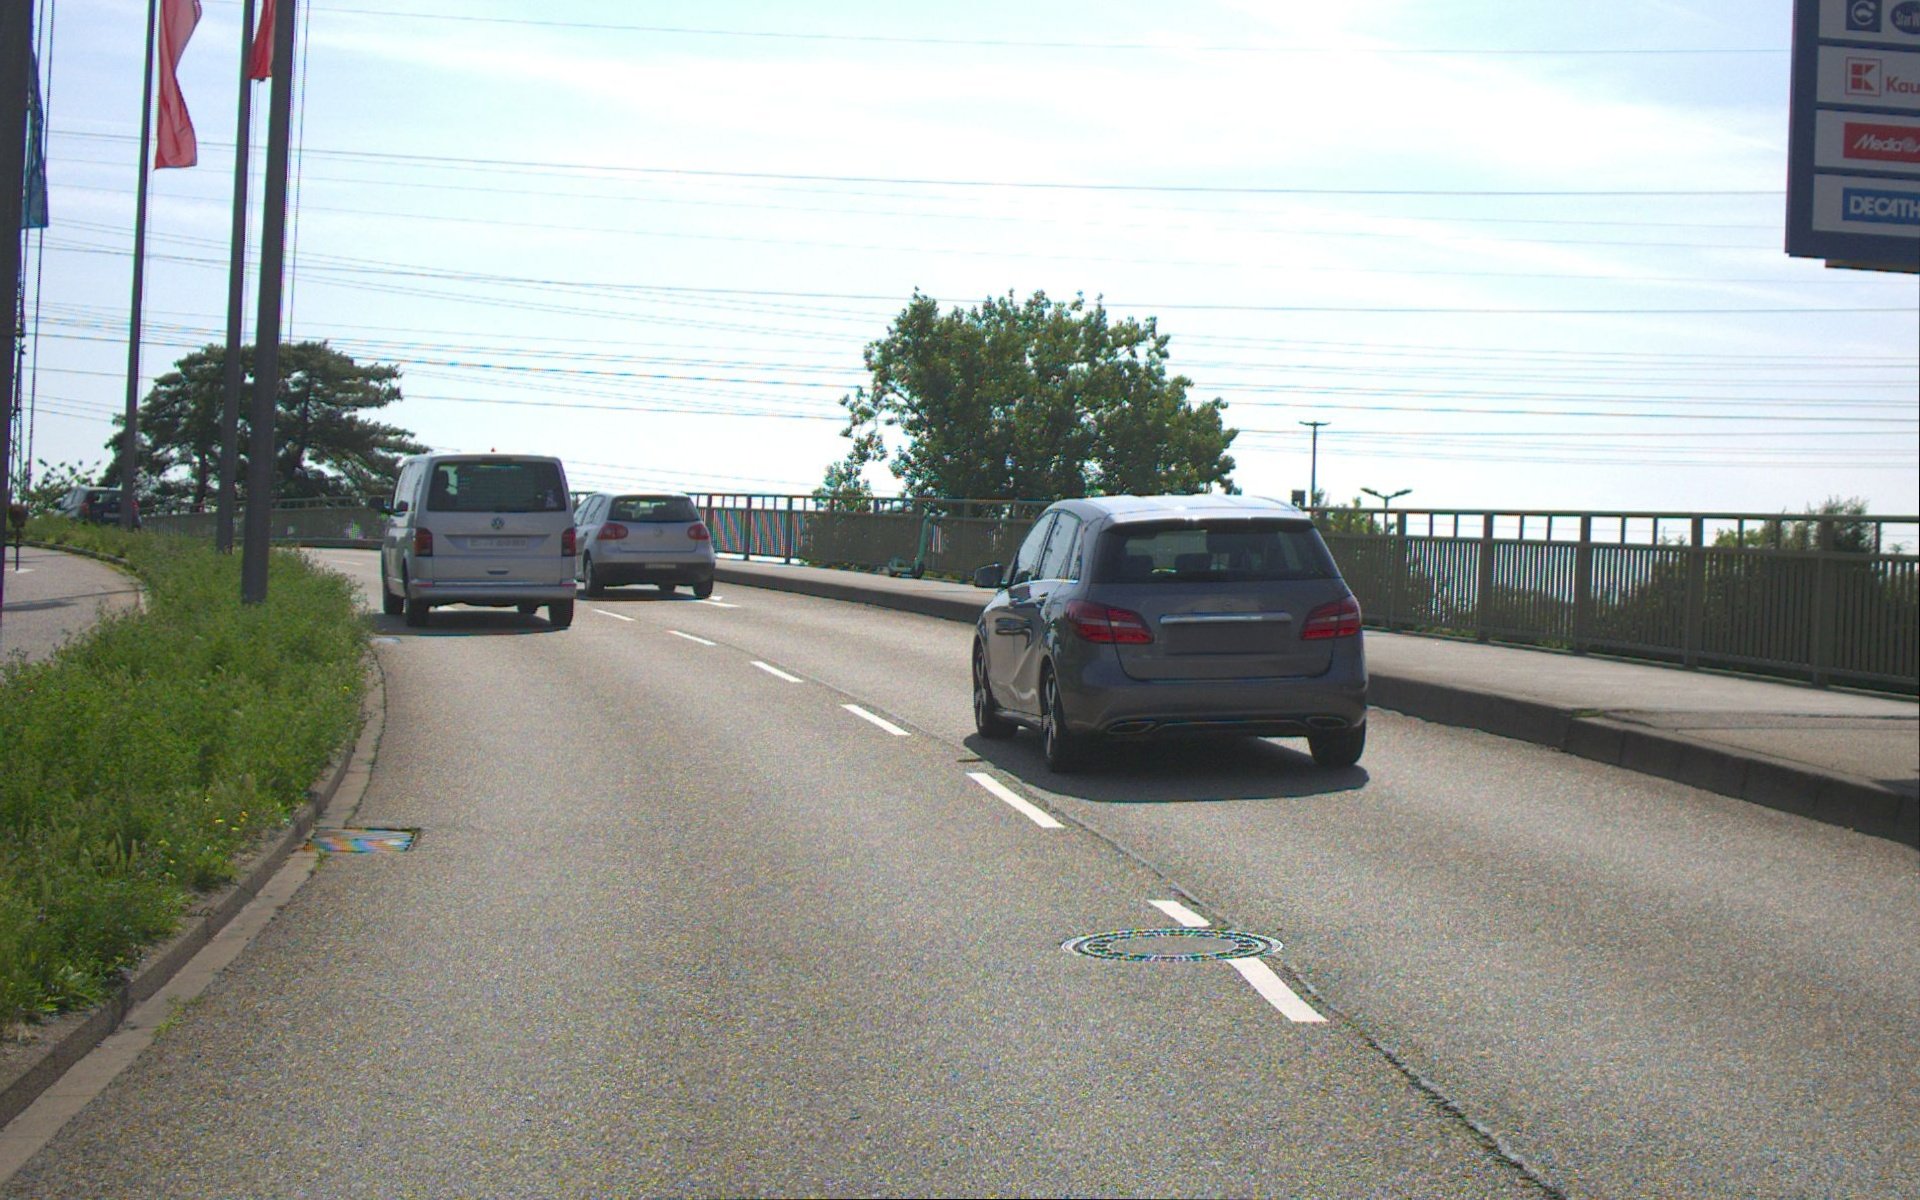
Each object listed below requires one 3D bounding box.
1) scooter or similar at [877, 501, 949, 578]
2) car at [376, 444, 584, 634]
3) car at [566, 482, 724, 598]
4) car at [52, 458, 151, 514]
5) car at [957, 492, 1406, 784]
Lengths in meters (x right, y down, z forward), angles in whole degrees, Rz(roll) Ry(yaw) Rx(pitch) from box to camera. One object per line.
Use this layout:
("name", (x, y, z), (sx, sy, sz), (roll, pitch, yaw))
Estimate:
("scooter or similar", (-0.727, -0.933, 52.715), (0.511, 1.138, 1.482), (2, 1, -24))
("car", (-5.539, -0.757, 39.282), (2.038, 2.006, 4.002), (-1, 3, -12))
("car", (-4.472, -0.874, 48.292), (1.856, 1.524, 4.145), (1, 2, -10))
("car", (-22.713, -3.028, 90.899), (1.773, 1.327, 3.742), (2, 2, -26))
("car", (1.194, 0.185, 20.495), (1.856, 1.524, 4.145), (2, 0, -8))
